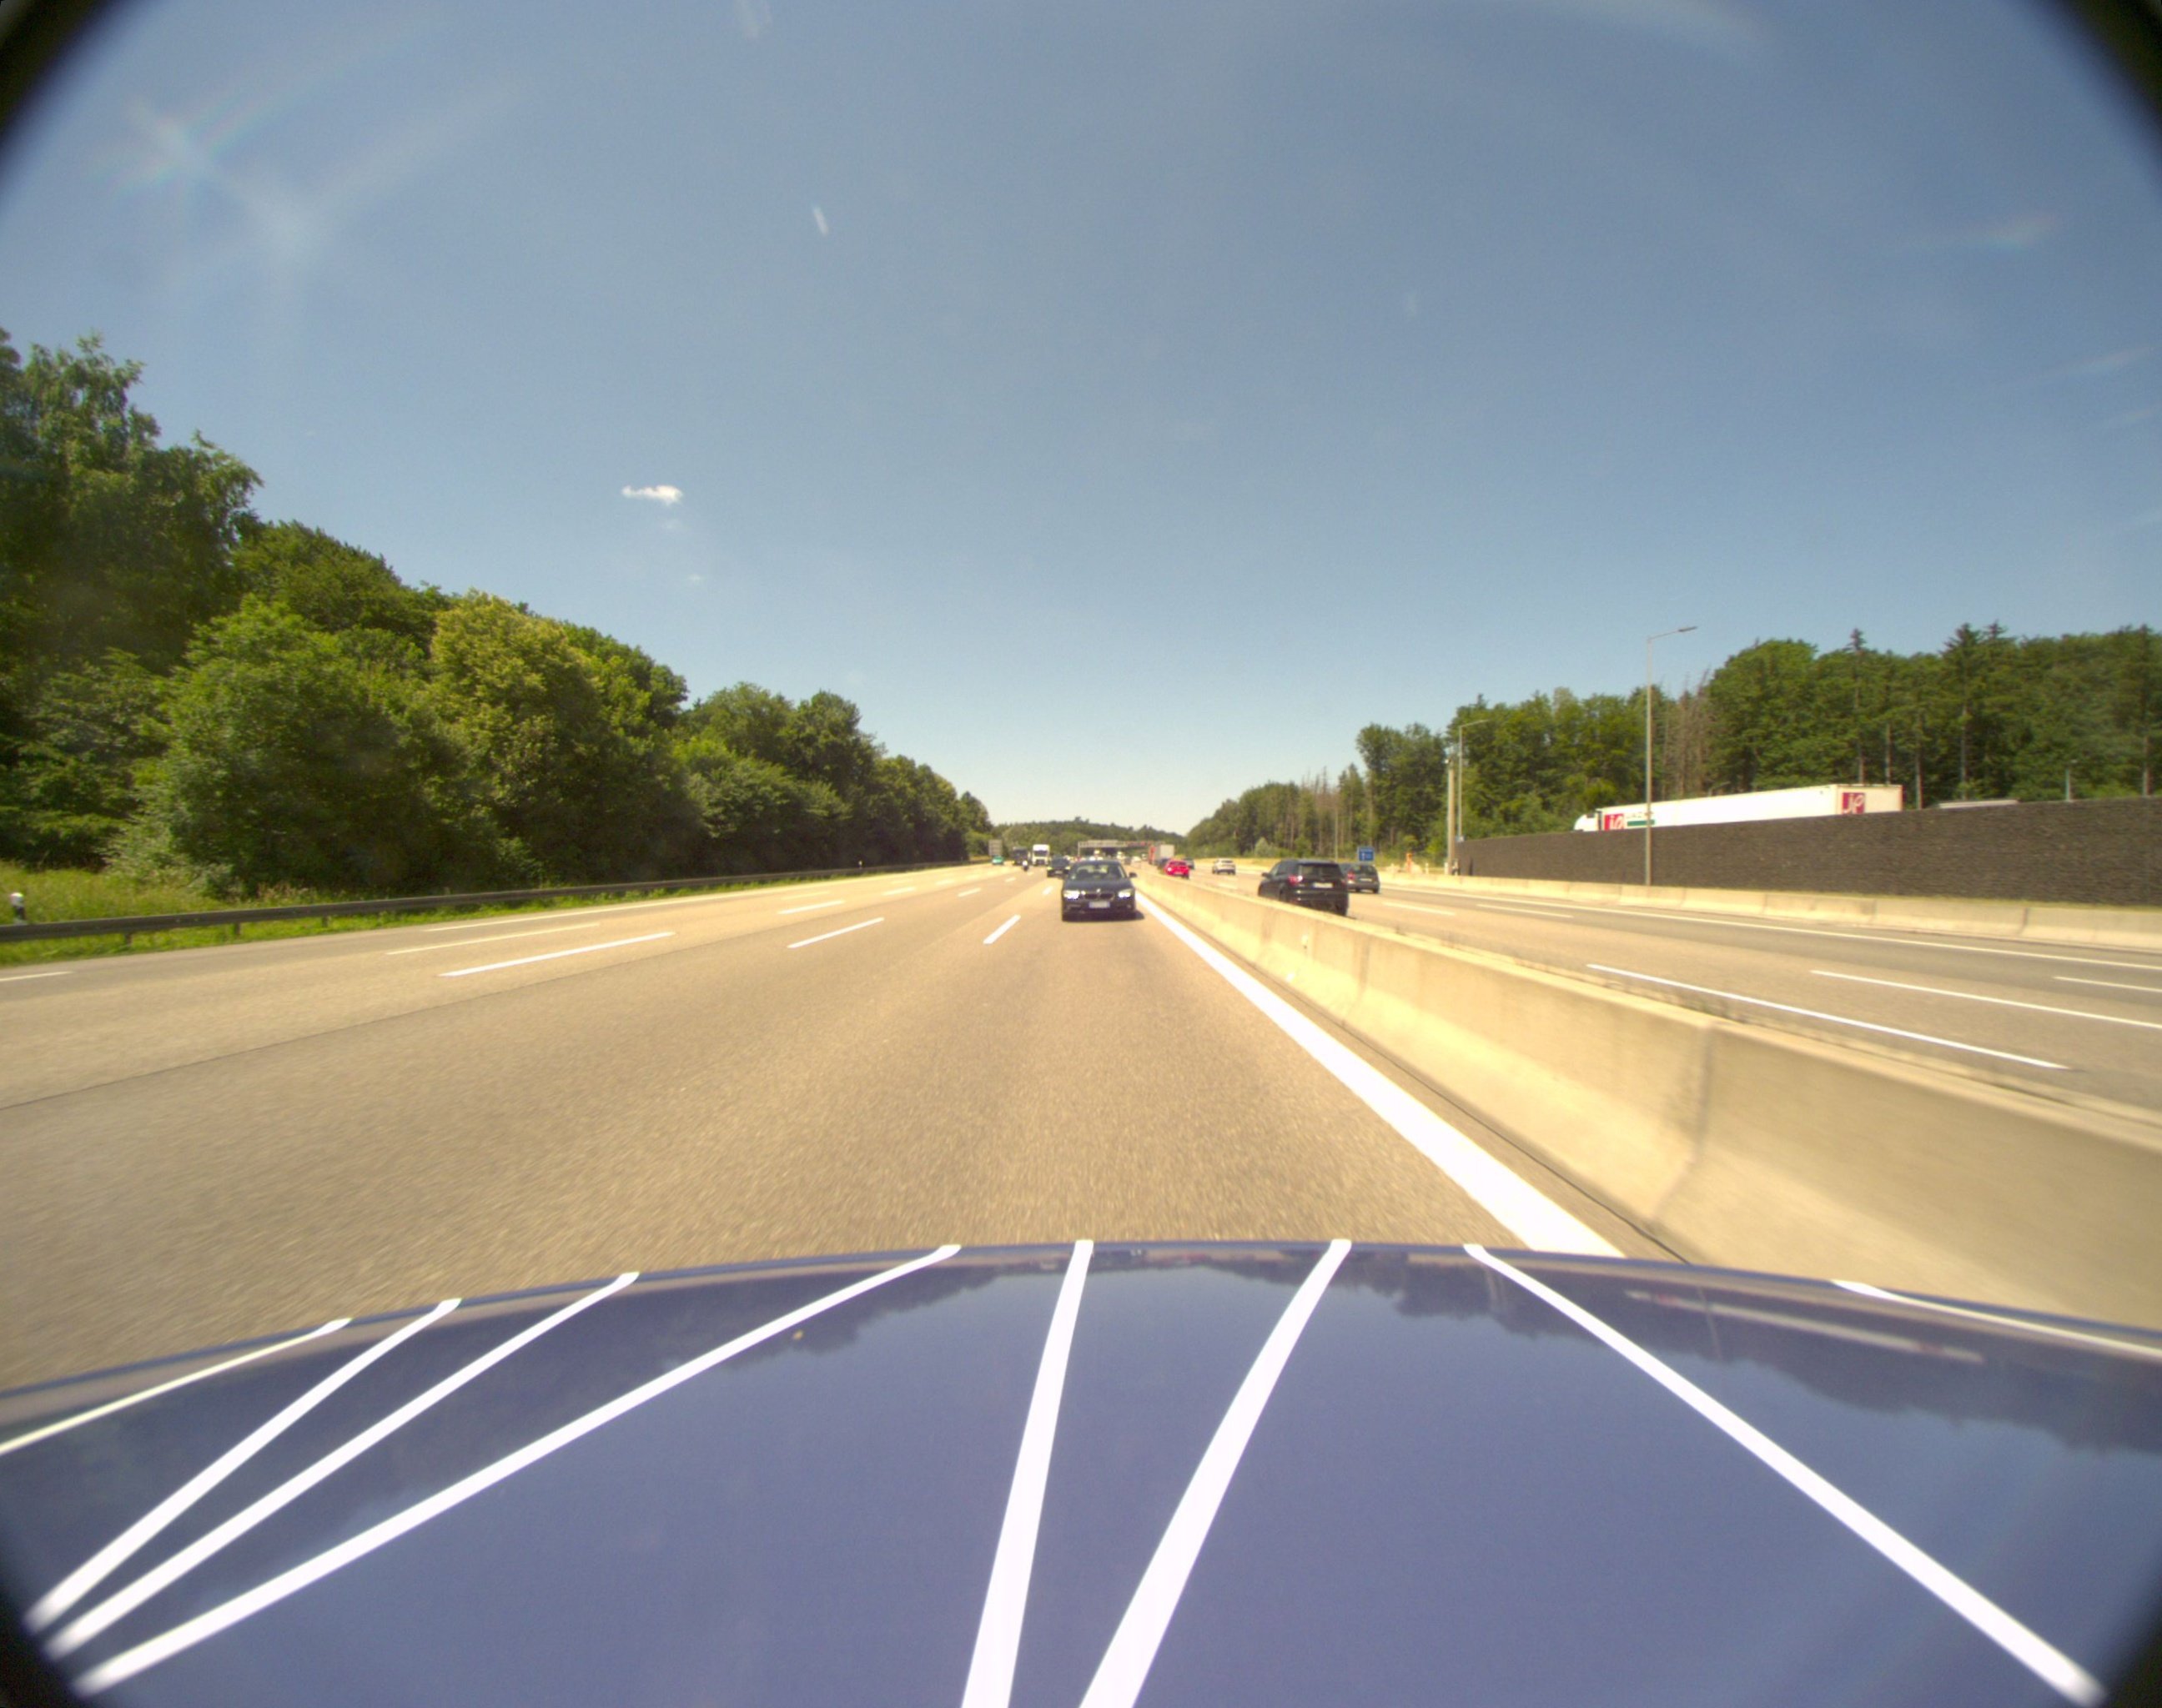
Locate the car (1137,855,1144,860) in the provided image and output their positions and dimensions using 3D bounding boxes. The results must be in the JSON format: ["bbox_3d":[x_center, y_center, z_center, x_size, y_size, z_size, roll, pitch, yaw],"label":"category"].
[{"bbox_3d":[18.635,1.068,238.907,1.998,1.661,4.612,1,0,1],"label":"car"}]

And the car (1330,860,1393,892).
[{"bbox_3d":[14.752,1.137,40.213,1.726,1.546,4.057,0,0,-2],"label":"car"}]

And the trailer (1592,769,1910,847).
[{"bbox_3d":[31.582,-1.896,37.580,2.979,3.106,14.608,0,0,1],"label":"trailer"}]

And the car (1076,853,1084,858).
[{"bbox_3d":[-0.212,0.433,202.548,1.910,1.450,4.127,0,1,1],"label":"car"}]

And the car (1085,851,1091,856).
[{"bbox_3d":[2.328,-0.202,245.760,1.910,1.450,4.126,0,1,0],"label":"car"}]

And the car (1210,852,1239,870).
[{"bbox_3d":[15.024,0.727,80.075,1.998,1.763,5.923,0,0,1],"label":"car"}]

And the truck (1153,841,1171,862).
[{"bbox_3d":[15.872,-0.474,149.138,2.741,4.008,6.781,0,1,1],"label":"truck"}]

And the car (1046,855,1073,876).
[{"bbox_3d":[-1.596,0.799,56.589,1.834,1.454,4.204,0,1,1],"label":"car"}]

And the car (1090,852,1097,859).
[{"bbox_3d":[3.831,0.532,229.186,1.998,1.935,4.128,0,0,1],"label":"car"}]

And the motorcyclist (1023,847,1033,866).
[{"bbox_3d":[-5.688,0.262,81.594,0.914,1.926,0.905,0,1,1],"label":"motorcyclist"}]

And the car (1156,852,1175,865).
[{"bbox_3d":[11.405,0.589,102.745,1.998,1.763,5.923,0,0,1],"label":"car"}]

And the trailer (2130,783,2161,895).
[{"bbox_3d":[48.194,-0.671,31.570,14.597,5.043,3.214,0,1,-44],"label":"trailer"}]

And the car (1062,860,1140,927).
[{"bbox_3d":[0.515,0.906,19.414,1.741,1.450,4.543,-1,0,2],"label":"car"}]

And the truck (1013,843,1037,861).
[{"bbox_3d":[-9.041,-0.338,124.228,2.660,2.839,10.886,1,1,3],"label":"truck"}]

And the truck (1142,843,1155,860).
[{"bbox_3d":[15.734,-0.568,177.643,2.534,4.025,6.472,0,0,1],"label":"truck"}]

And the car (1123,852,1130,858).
[{"bbox_3d":[15.696,0.304,264.072,1.999,1.748,5.010,0,1,0],"label":"car"}]

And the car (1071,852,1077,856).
[{"bbox_3d":[-2.257,-0.055,259.729,1.910,1.450,4.126,0,1,0],"label":"car"}]

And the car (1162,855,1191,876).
[{"bbox_3d":[7.509,0.892,60.149,1.735,1.505,5.044,0,0,1],"label":"car"}]

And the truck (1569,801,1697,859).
[{"bbox_3d":[31.643,-1.321,43.926,2.934,3.106,6.202,0,1,1],"label":"truck"}]

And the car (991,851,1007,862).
[{"bbox_3d":[-13.456,0.399,124.244,1.998,1.671,4.127,1,1,2],"label":"car"}]

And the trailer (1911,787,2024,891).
[{"bbox_3d":[49.479,-0.753,42.800,14.597,5.043,3.120,0,1,-44],"label":"trailer"}]

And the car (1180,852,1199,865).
[{"bbox_3d":[15.440,0.653,108.404,1.998,1.763,5.038,0,0,1],"label":"car"}]

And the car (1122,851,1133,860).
[{"bbox_3d":[9.310,0.265,152.490,1.788,1.633,5.462,0,0,1],"label":"car"}]

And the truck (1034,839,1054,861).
[{"bbox_3d":[-5.590,-0.685,116.969,2.428,3.237,8.690,0,1,2],"label":"truck"}]

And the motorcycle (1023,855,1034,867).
[{"bbox_3d":[-5.670,0.759,81.668,0.925,1.310,2.998,0,0,1],"label":"motorcycle"}]

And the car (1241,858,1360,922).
[{"bbox_3d":[6.609,0.991,23.674,1.999,1.653,5.754,1,0,0],"label":"car"}]

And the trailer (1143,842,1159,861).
[{"bbox_3d":[15.632,-0.557,170.924,2.577,4.026,14.181,0,0,1],"label":"trailer"}]

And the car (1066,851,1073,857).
[{"bbox_3d":[-3.192,-0.043,209.872,1.747,1.529,4.127,1,1,2],"label":"car"}]

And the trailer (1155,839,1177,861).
[{"bbox_3d":[15.821,-0.760,142.500,2.761,3.978,14.466,0,0,1],"label":"trailer"}]
